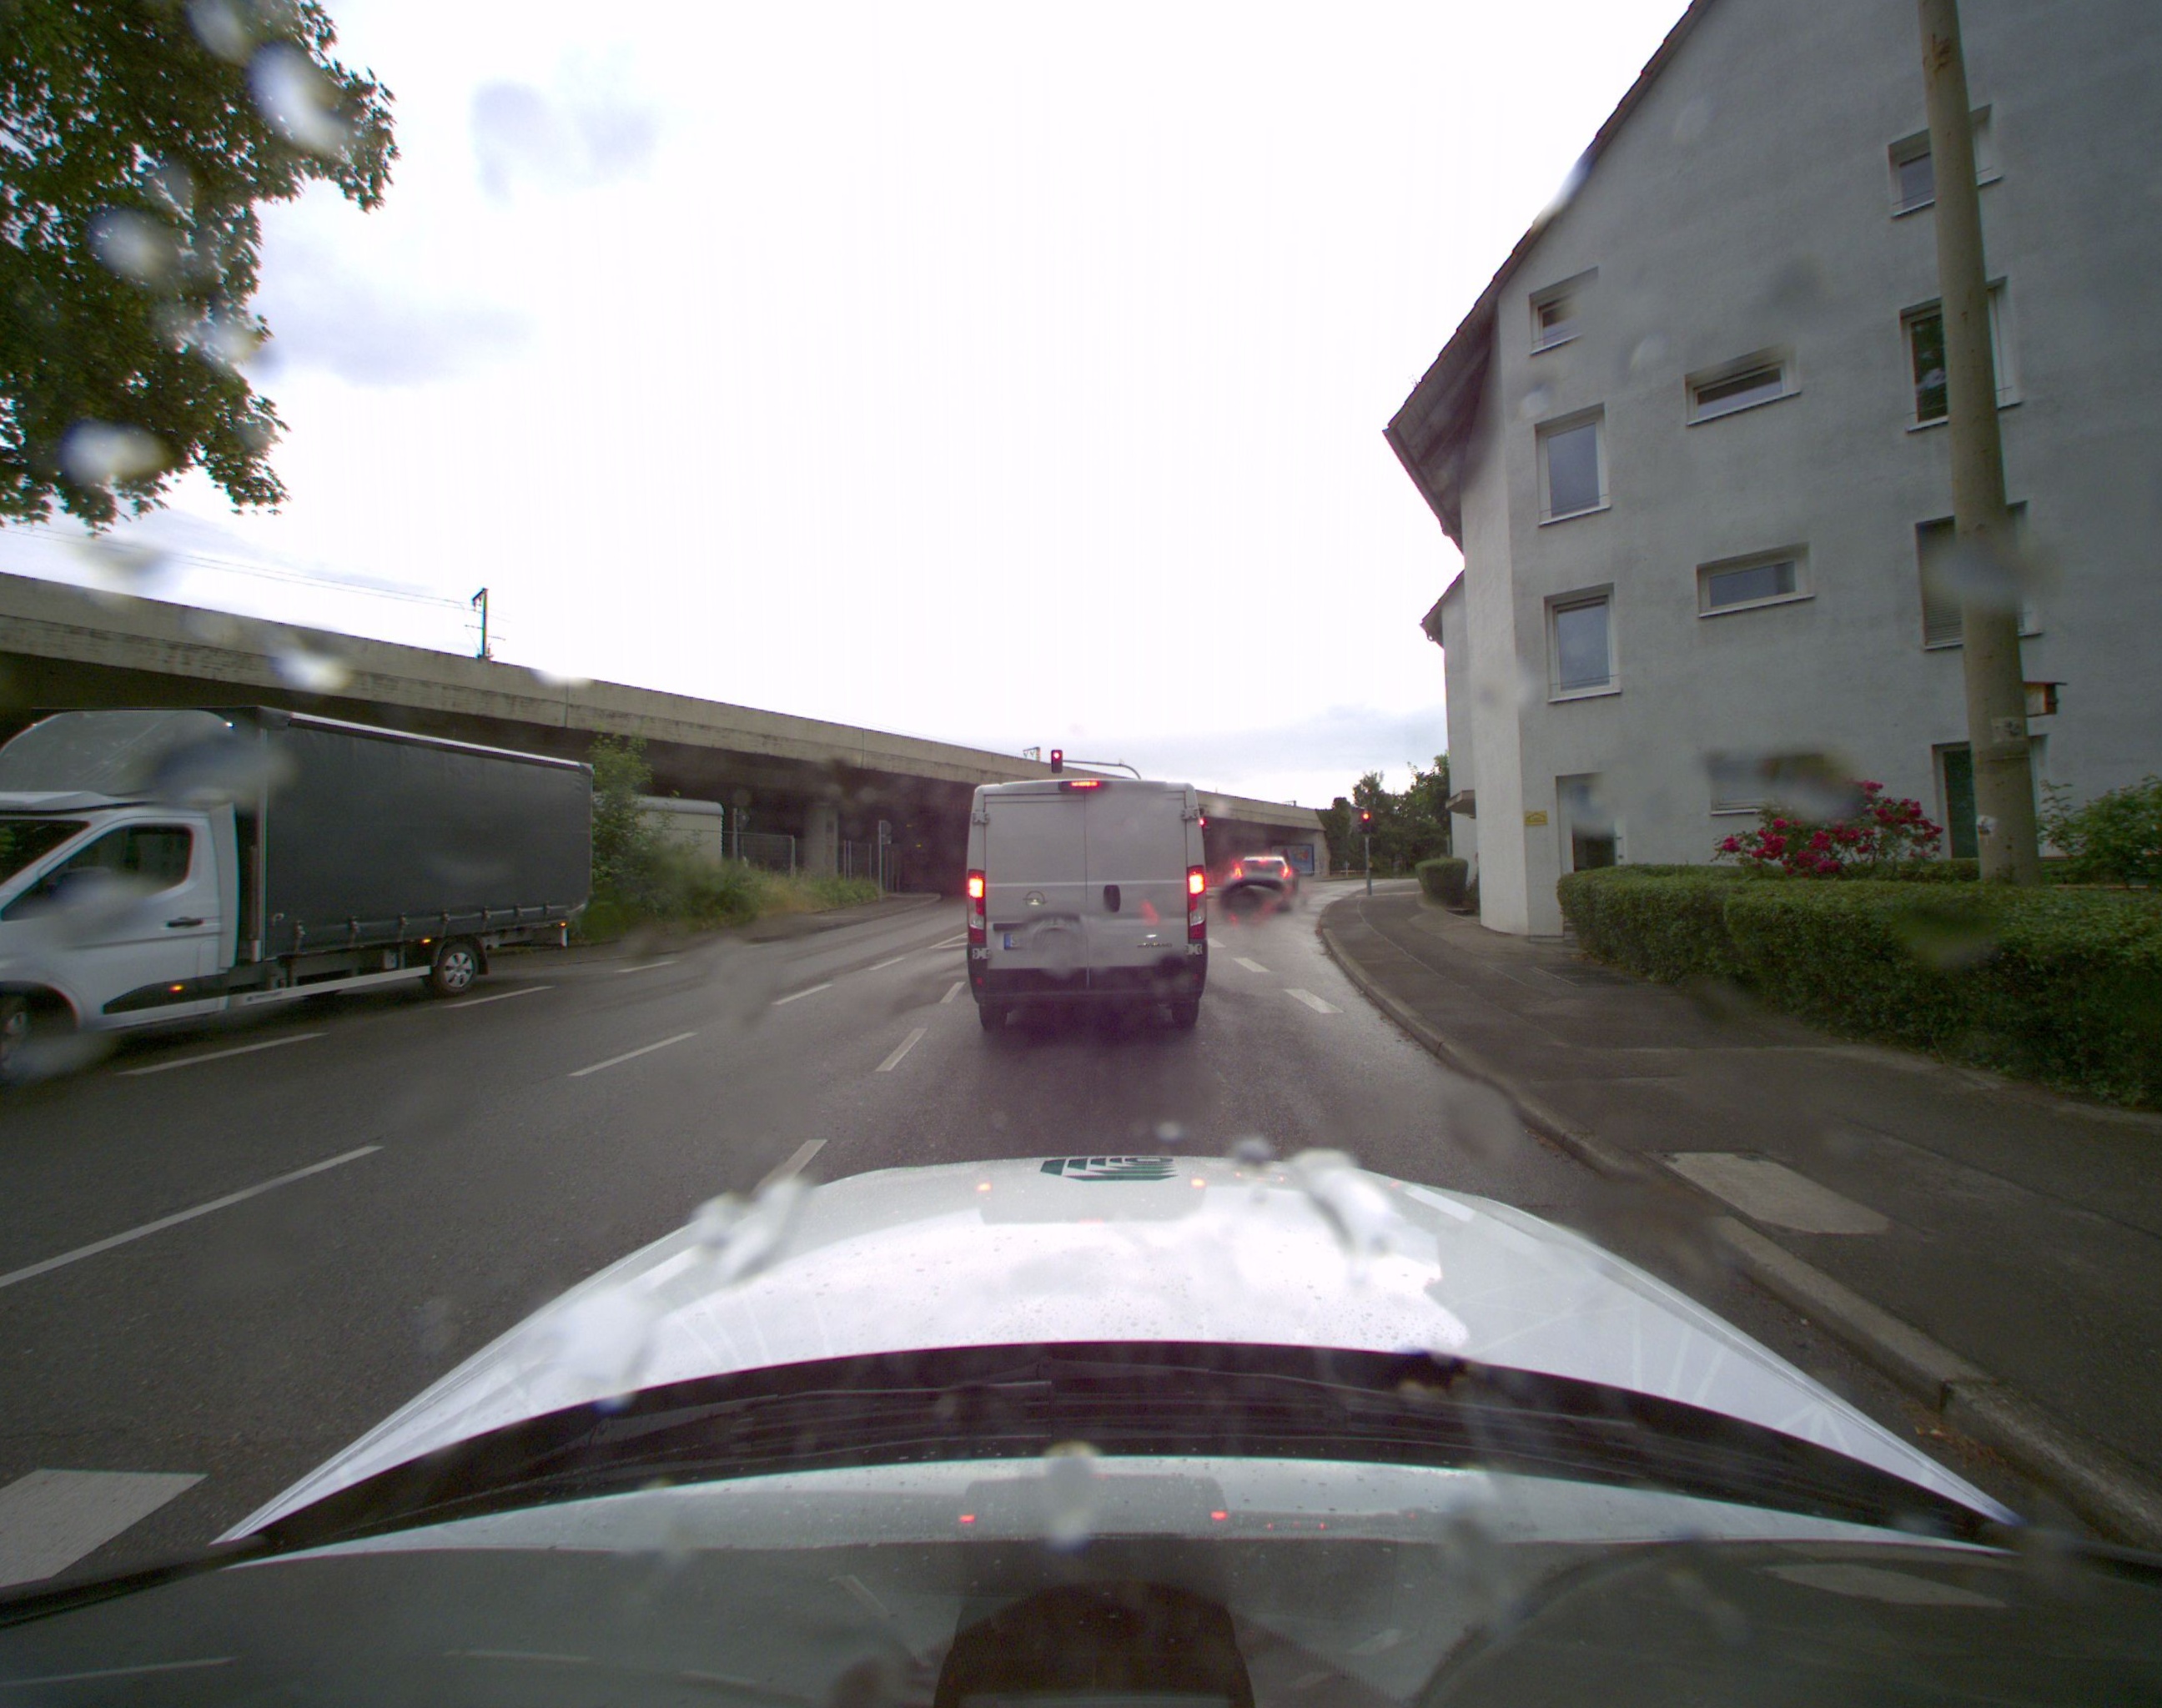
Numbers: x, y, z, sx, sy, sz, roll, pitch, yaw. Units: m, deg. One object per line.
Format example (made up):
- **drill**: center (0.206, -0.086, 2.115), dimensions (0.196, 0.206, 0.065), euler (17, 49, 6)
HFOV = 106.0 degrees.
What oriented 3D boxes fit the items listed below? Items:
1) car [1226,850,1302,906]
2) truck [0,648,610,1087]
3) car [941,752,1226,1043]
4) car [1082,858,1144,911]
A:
- **car**: center (5.752, 0.723, 25.233), dimensions (1.978, 1.549, 4.017), euler (-2, -1, 17)
- **truck**: center (-9.074, 0.181, 9.195), dimensions (2.599, 3.237, 7.782), euler (-1, -1, 3)
- **car**: center (0.038, 0.368, 9.334), dimensions (2.297, 2.343, 5.281), euler (-1, 0, 0)
- **car**: center (1.212, 1.072, 29.008), dimensions (1.984, 1.729, 4.004), euler (-1, -2, 5)
